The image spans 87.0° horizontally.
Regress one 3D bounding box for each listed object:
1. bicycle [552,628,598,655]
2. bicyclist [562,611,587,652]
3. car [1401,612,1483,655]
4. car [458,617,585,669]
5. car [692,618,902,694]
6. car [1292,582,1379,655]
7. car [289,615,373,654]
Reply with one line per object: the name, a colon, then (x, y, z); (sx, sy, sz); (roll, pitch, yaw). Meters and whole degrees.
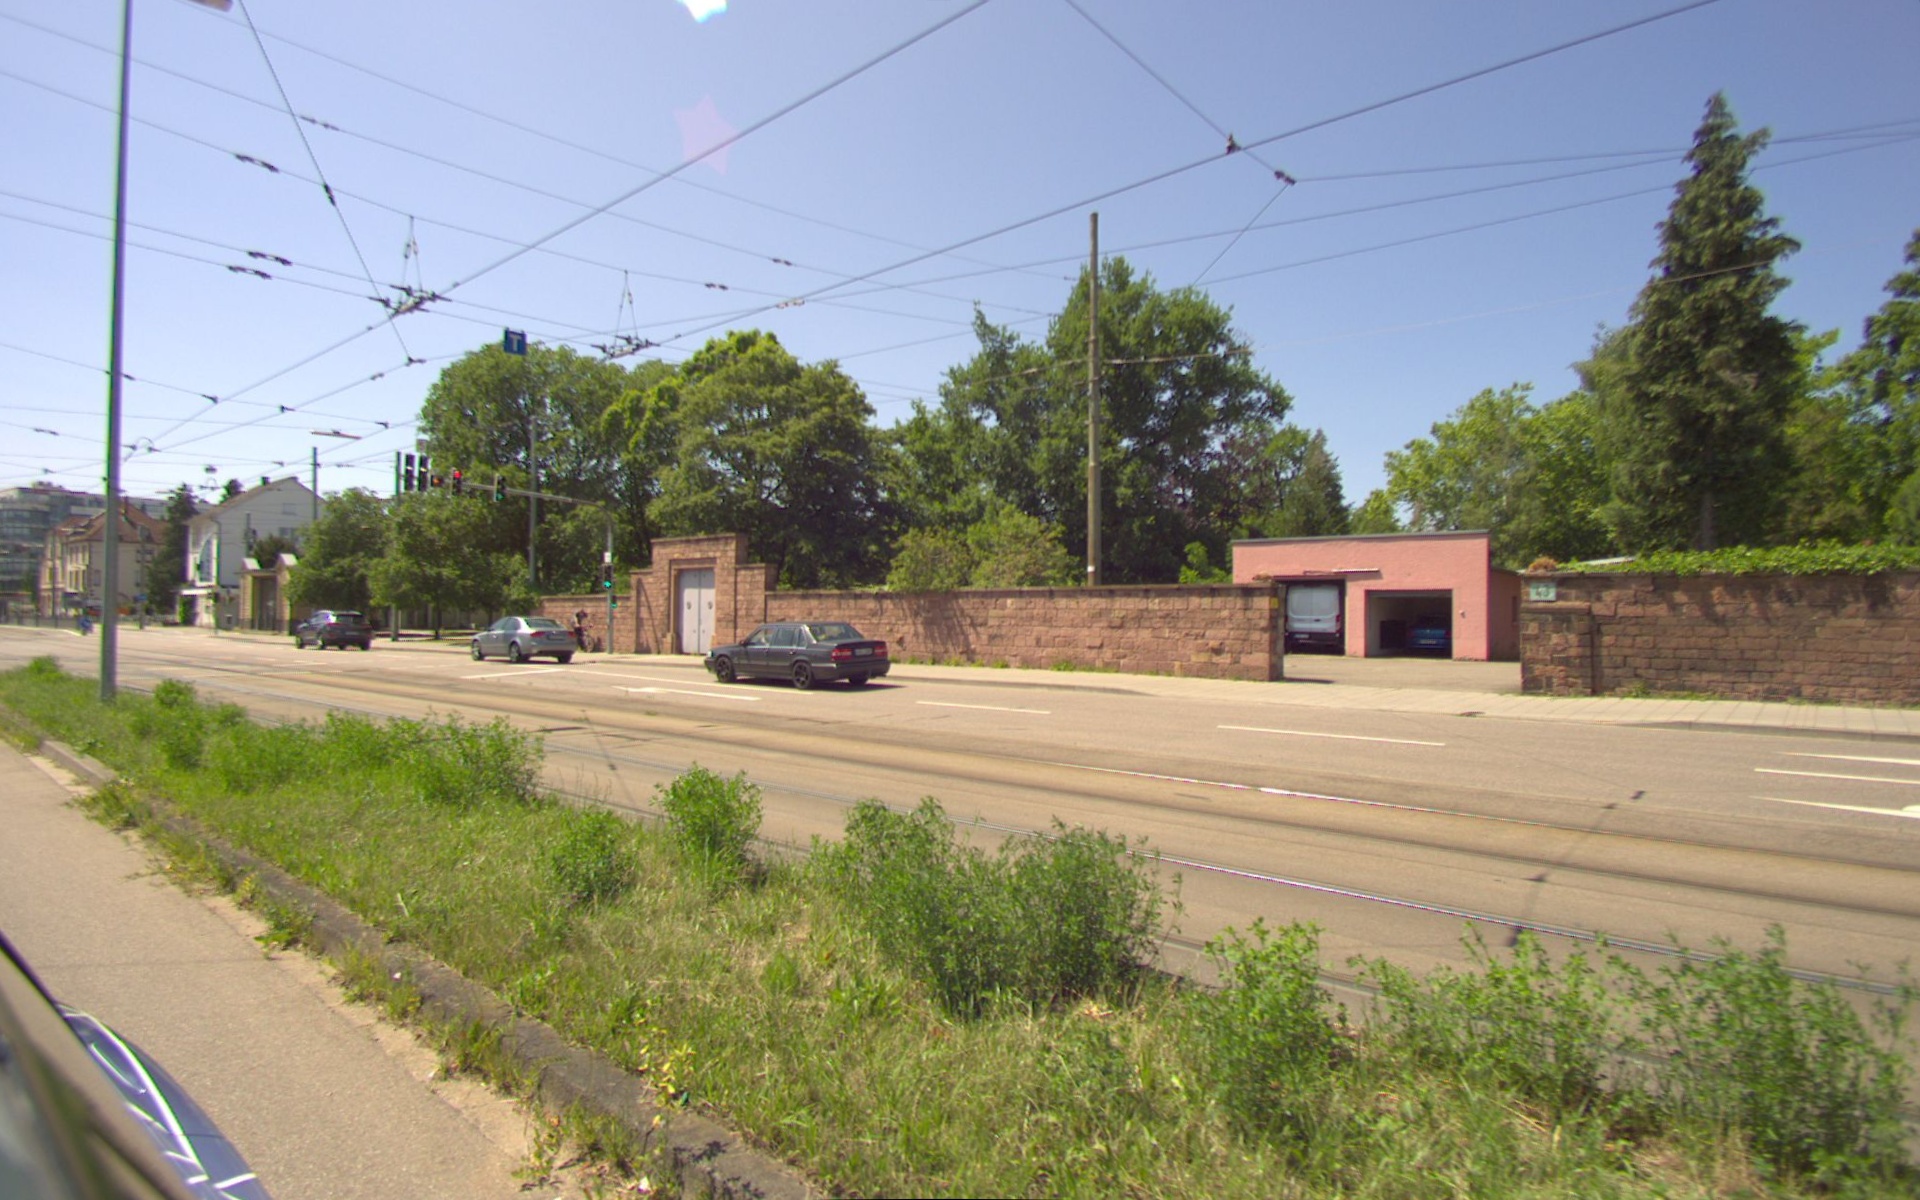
bicycle: (-14.307, 1.539, 37.581); (2.113, 0.964, 0.645); (-1, -1, 40)
bicyclist: (-14.332, 1.151, 37.605); (0.662, 1.508, 0.646); (-1, -1, 40)
car: (17.273, 1.149, 36.176); (1.882, 1.443, 4.337); (-1, -1, 36)
car: (-13.756, 1.285, 31.635); (4.709, 1.427, 1.821); (-1, 1, 42)
car: (-3.710, 1.153, 22.425); (5.032, 1.427, 1.821); (-1, 1, 42)
car: (13.813, 0.668, 37.085); (1.882, 2.485, 4.337); (-1, -1, 36)
car: (-26.780, 1.456, 43.049); (4.463, 1.567, 1.821); (-1, -2, 41)
